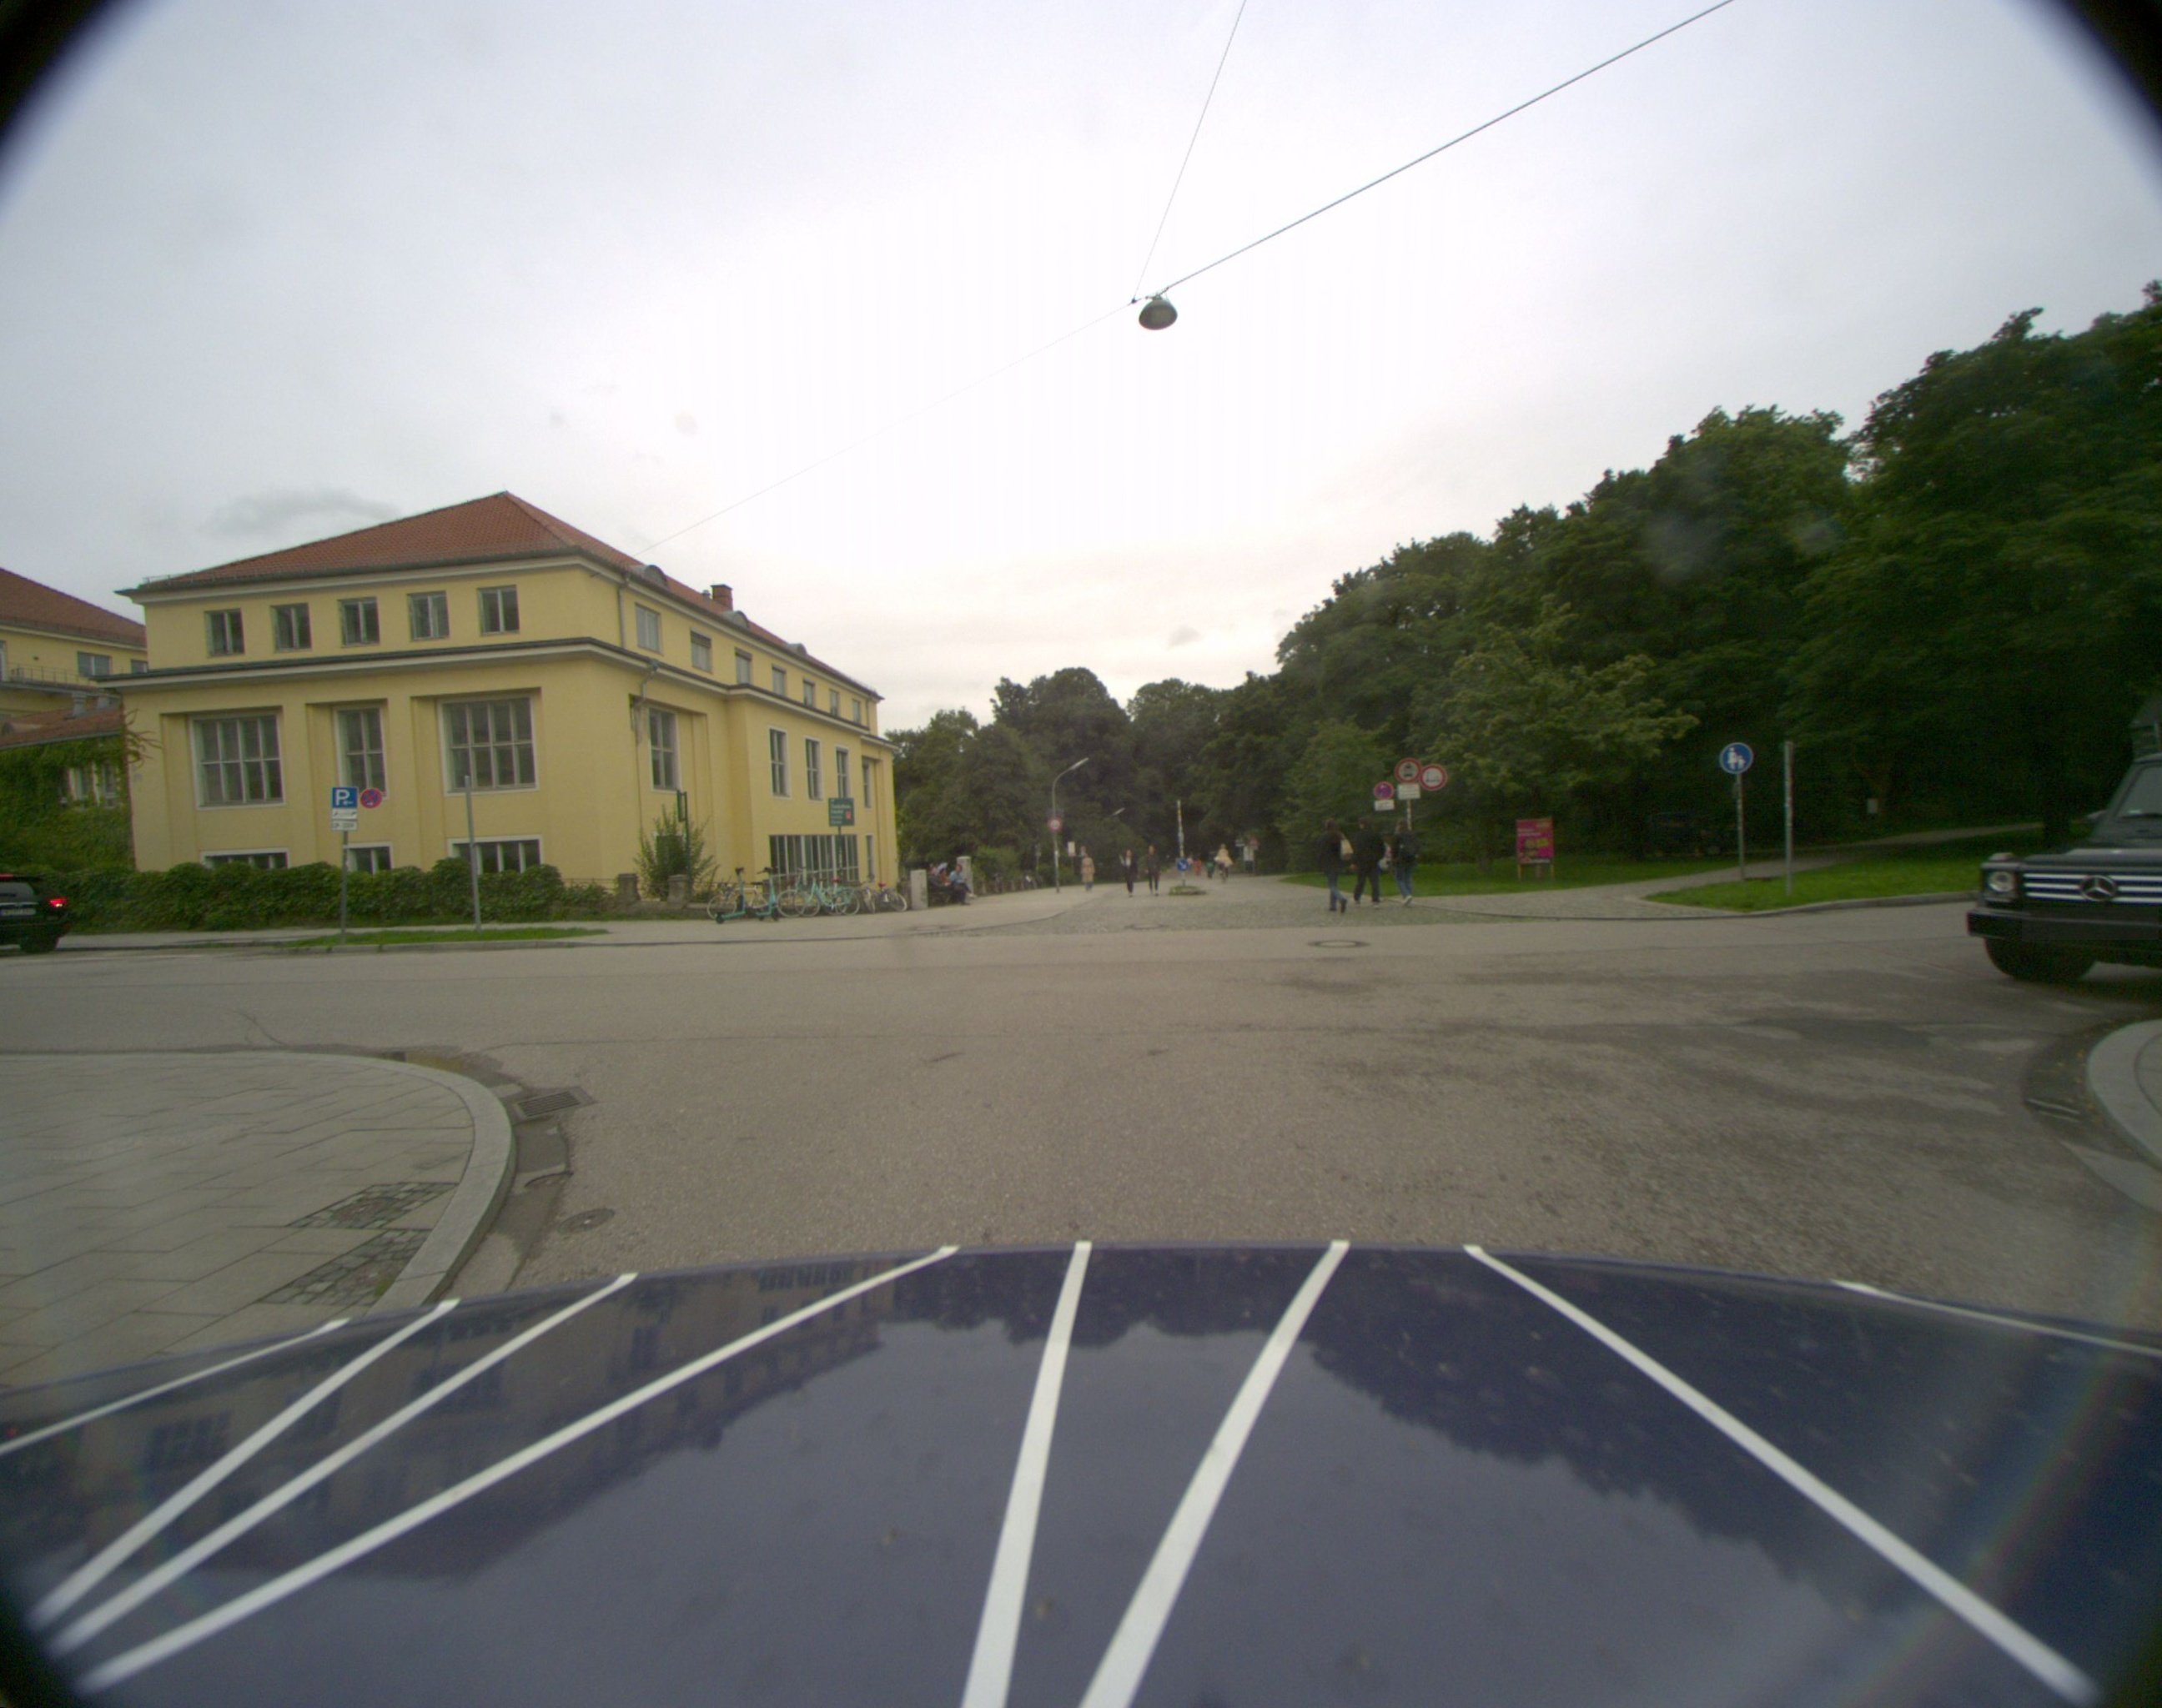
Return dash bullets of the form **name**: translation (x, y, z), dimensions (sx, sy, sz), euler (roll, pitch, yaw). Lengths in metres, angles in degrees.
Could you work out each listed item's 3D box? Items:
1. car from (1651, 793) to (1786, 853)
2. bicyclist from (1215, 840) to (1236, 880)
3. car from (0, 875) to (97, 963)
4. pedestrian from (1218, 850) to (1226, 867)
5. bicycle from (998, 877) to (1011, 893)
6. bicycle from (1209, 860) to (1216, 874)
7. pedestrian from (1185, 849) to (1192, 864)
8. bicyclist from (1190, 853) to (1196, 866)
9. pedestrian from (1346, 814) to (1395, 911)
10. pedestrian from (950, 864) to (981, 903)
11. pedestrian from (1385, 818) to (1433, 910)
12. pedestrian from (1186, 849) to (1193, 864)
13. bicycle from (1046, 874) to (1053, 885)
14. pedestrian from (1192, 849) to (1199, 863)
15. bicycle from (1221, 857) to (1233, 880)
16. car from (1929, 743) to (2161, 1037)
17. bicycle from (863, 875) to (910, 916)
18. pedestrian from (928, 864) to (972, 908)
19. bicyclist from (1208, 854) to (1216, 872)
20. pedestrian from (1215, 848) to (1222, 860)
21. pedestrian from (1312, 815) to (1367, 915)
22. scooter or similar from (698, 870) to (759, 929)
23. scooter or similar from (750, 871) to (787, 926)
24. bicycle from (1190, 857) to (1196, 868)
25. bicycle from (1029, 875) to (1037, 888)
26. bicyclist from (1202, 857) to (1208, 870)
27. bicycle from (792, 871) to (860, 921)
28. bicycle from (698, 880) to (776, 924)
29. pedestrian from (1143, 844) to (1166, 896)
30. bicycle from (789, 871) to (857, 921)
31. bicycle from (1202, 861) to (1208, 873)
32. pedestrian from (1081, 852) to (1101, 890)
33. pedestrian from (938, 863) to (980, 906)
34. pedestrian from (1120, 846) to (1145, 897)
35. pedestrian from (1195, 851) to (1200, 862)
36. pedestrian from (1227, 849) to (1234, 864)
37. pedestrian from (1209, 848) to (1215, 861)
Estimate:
- **car**: translation (25.265, -1.224, 30.279), dimensions (3.957, 2.093, 1.908), euler (-3, 2, 38)
- **bicyclist**: translation (6.784, 0.276, 35.677), dimensions (0.856, 1.792, 0.767), euler (-3, 1, 7)
- **car**: translation (-23.589, 1.388, 15.674), dimensions (4.619, 1.698, 1.938), euler (-2, 0, 8)
- **pedestrian**: translation (14.771, 0.460, 79.723), dimensions (0.685, 1.662, 0.774), euler (-4, -2, 8)
- **bicycle**: translation (-3.412, 1.381, 33.798), dimensions (0.215, 0.672, 0.910), euler (-1, -1, 19)
- **bicycle**: translation (10.062, 1.009, 58.220), dimensions (0.464, 1.053, 1.763), euler (-2, -1, 7)
- **pedestrian**: translation (13.110, 0.310, 92.570), dimensions (0.685, 1.662, 0.774), euler (-4, -2, 8)
- **bicyclist**: translation (11.831, 0.569, 80.333), dimensions (0.563, 1.259, 0.762), euler (-2, 3, 7)
- **pedestrian**: translation (5.804, 0.174, 15.273), dimensions (0.707, 1.892, 0.804), euler (-1, 0, 7)
- **pedestrian**: translation (-3.804, 0.968, 25.054), dimensions (0.887, 1.227, 0.550), euler (-4, -2, -4)
- **pedestrian**: translation (6.508, 0.198, 15.111), dimensions (0.634, 1.771, 0.802), euler (-1, 0, 7)
- **pedestrian**: translation (12.674, 0.300, 89.113), dimensions (0.685, 1.662, 0.774), euler (-4, -2, 8)
- **bicycle**: translation (-1.881, 1.508, 45.241), dimensions (0.242, 0.653, 0.910), euler (-1, -1, 8)
- **pedestrian**: translation (14.183, 0.196, 94.097), dimensions (0.685, 1.662, 0.774), euler (-4, -2, 8)
- **bicycle**: translation (6.843, 0.671, 35.746), dimensions (0.482, 1.035, 1.947), euler (-2, 0, 10)
- **car**: translation (9.448, 0.124, 5.718), dimensions (4.420, 1.990, 1.934), euler (-3, 3, -8)
- **bicycle**: translation (-5.278, 1.109, 20.670), dimensions (0.307, 1.032, 1.657), euler (-1, -1, 22)
- **pedestrian**: translation (-4.036, 0.987, 23.473), dimensions (1.216, 1.240, 0.639), euler (-4, -2, -4)
- **bicyclist**: translation (10.035, 0.675, 58.240), dimensions (0.563, 1.366, 0.762), euler (-2, -1, 7)
- **pedestrian**: translation (18.600, 0.009, 103.016), dimensions (0.742, 1.662, 0.922), euler (-4, -2, 8)
- **pedestrian**: translation (4.927, 0.214, 14.549), dimensions (0.751, 1.822, 1.115), euler (-1, 0, 7)
- **scooter or similar**: translation (-7.926, 1.010, 17.147), dimensions (0.396, 1.240, 1.392), euler (-2, 0, 16)
- **scooter or similar**: translation (-7.070, 1.000, 17.181), dimensions (1.114, 1.206, 0.324), euler (-2, 0, 44)
- **bicycle**: translation (11.842, 0.889, 80.395), dimensions (0.464, 1.054, 1.761), euler (-2, 3, 7)
- **bicycle**: translation (-2.551, 1.477, 40.774), dimensions (0.215, 0.672, 0.910), euler (-1, -1, 10)
- **bicyclist**: translation (11.931, 0.910, 73.148), dimensions (0.563, 1.259, 0.762), euler (-2, 3, 7)
- **bicycle**: translation (-6.337, 1.020, 18.946), dimensions (1.658, 1.191, 0.169), euler (0, -1, -42)
- **bicycle**: translation (-8.180, 1.138, 18.105), dimensions (1.655, 0.987, 0.248), euler (-1, 0, -17)
- **pedestrian**: translation (2.484, 0.545, 25.608), dimensions (0.638, 1.662, 0.774), euler (-4, -2, 8)
- **bicycle**: translation (-6.458, 1.031, 19.102), dimensions (1.658, 1.184, 0.202), euler (0, -1, -42)
- **bicycle**: translation (11.938, 1.223, 73.188), dimensions (0.464, 1.054, 1.761), euler (-2, 3, 7)
- **pedestrian**: translation (0.465, 0.799, 34.849), dimensions (0.653, 1.676, 0.976), euler (-4, -2, 8)
- **pedestrian**: translation (-3.902, 0.968, 24.408), dimensions (1.177, 1.285, 0.639), euler (-4, -2, -4)
- **pedestrian**: translation (1.736, 0.603, 25.629), dimensions (0.685, 1.662, 0.774), euler (-4, -2, 8)
- **pedestrian**: translation (13.995, 0.316, 91.109), dimensions (0.471, 1.259, 0.448), euler (-2, 4, 7)
- **pedestrian**: translation (17.196, 0.343, 87.515), dimensions (0.685, 1.662, 0.774), euler (-4, -2, 8)
- **pedestrian**: translation (17.801, 0.041, 103.158), dimensions (0.742, 1.662, 0.922), euler (-4, -2, 8)
